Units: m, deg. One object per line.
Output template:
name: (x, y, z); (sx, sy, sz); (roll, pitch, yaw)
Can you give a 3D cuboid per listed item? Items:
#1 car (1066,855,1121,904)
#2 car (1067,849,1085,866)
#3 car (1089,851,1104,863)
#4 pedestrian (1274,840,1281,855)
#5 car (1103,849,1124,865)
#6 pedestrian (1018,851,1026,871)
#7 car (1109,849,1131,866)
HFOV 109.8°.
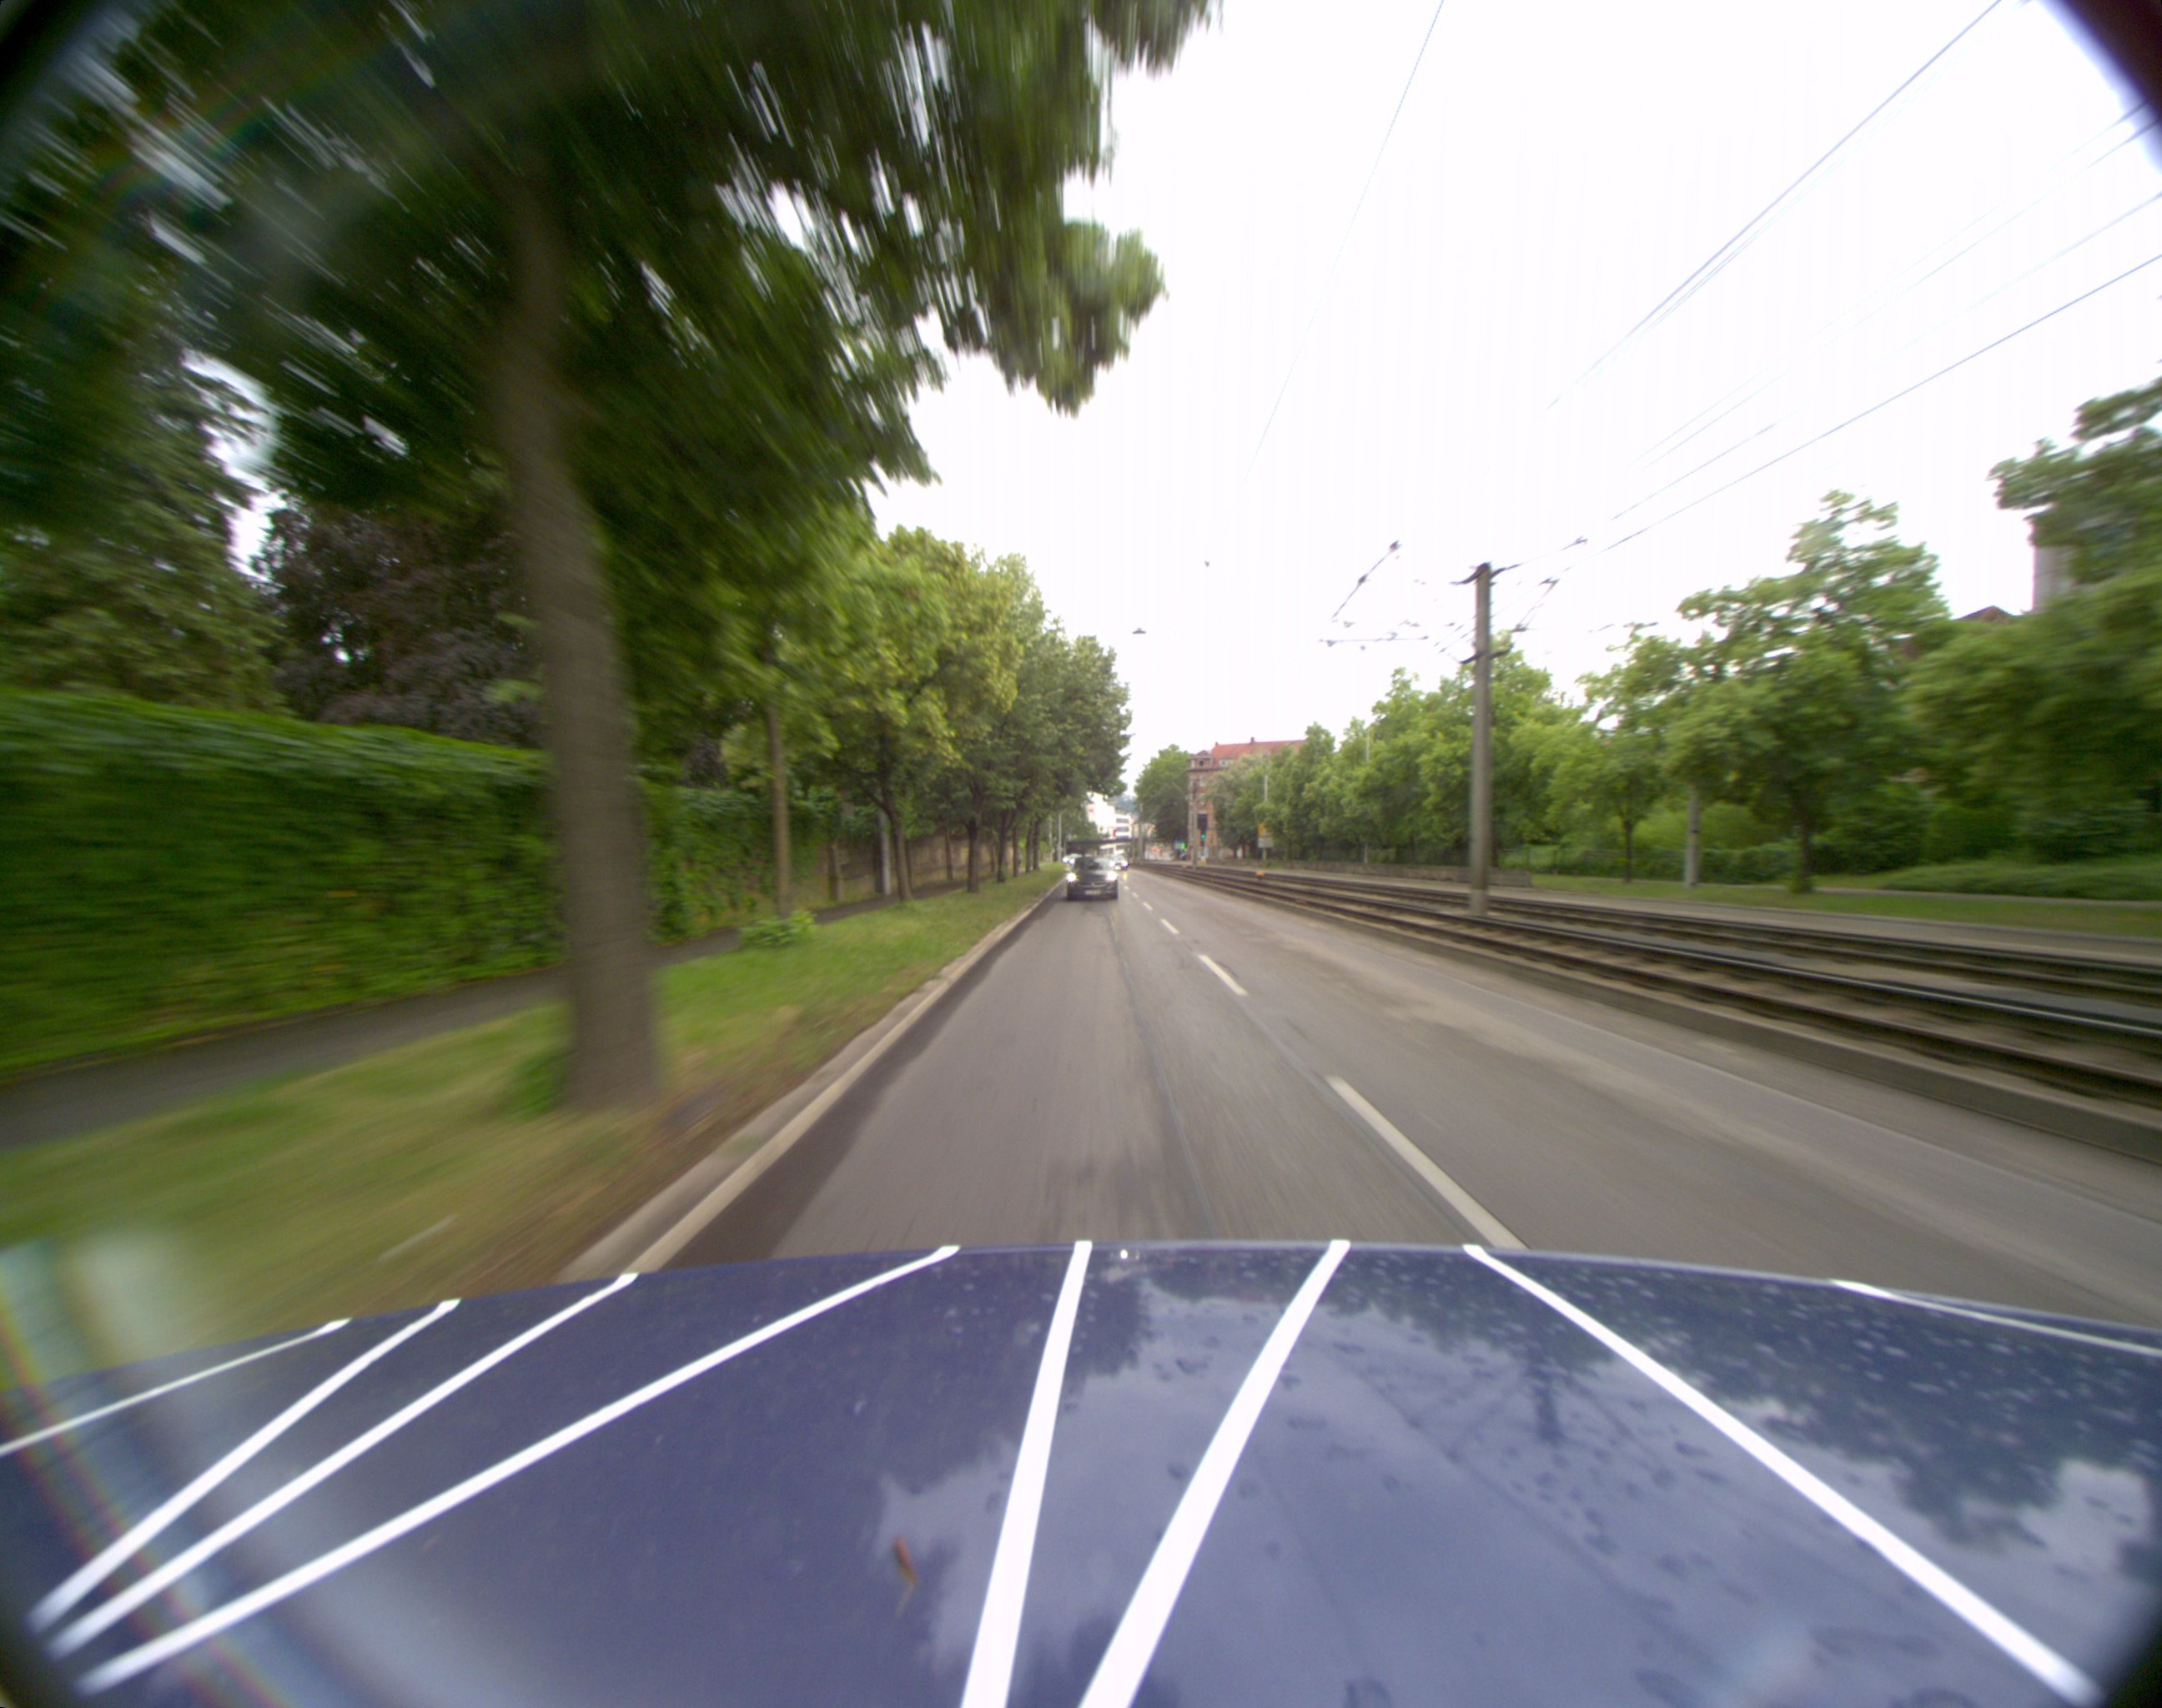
car: (0.386, 0.783, 25.112); (1.658, 1.483, 3.829); (0, 0, 0)
car: (-0.606, 0.376, 95.736); (1.998, 2.002, 4.000); (-2, 1, 1)
car: (2.634, 0.507, 127.110); (1.999, 1.801, 3.997); (-2, 1, -6)
pedestrian: (25.071, -0.773, 96.931); (0.597, 1.892, 0.654); (-2, 1, -3)
car: (3.512, 0.322, 82.364); (1.807, 1.484, 4.100); (-2, 2, -3)
pedestrian: (-5.334, 0.640, 68.876); (0.710, 1.769, 0.900); (-1, 1, -2)
car: (3.536, 0.313, 69.879); (1.806, 1.483, 4.102); (0, 0, 0)
